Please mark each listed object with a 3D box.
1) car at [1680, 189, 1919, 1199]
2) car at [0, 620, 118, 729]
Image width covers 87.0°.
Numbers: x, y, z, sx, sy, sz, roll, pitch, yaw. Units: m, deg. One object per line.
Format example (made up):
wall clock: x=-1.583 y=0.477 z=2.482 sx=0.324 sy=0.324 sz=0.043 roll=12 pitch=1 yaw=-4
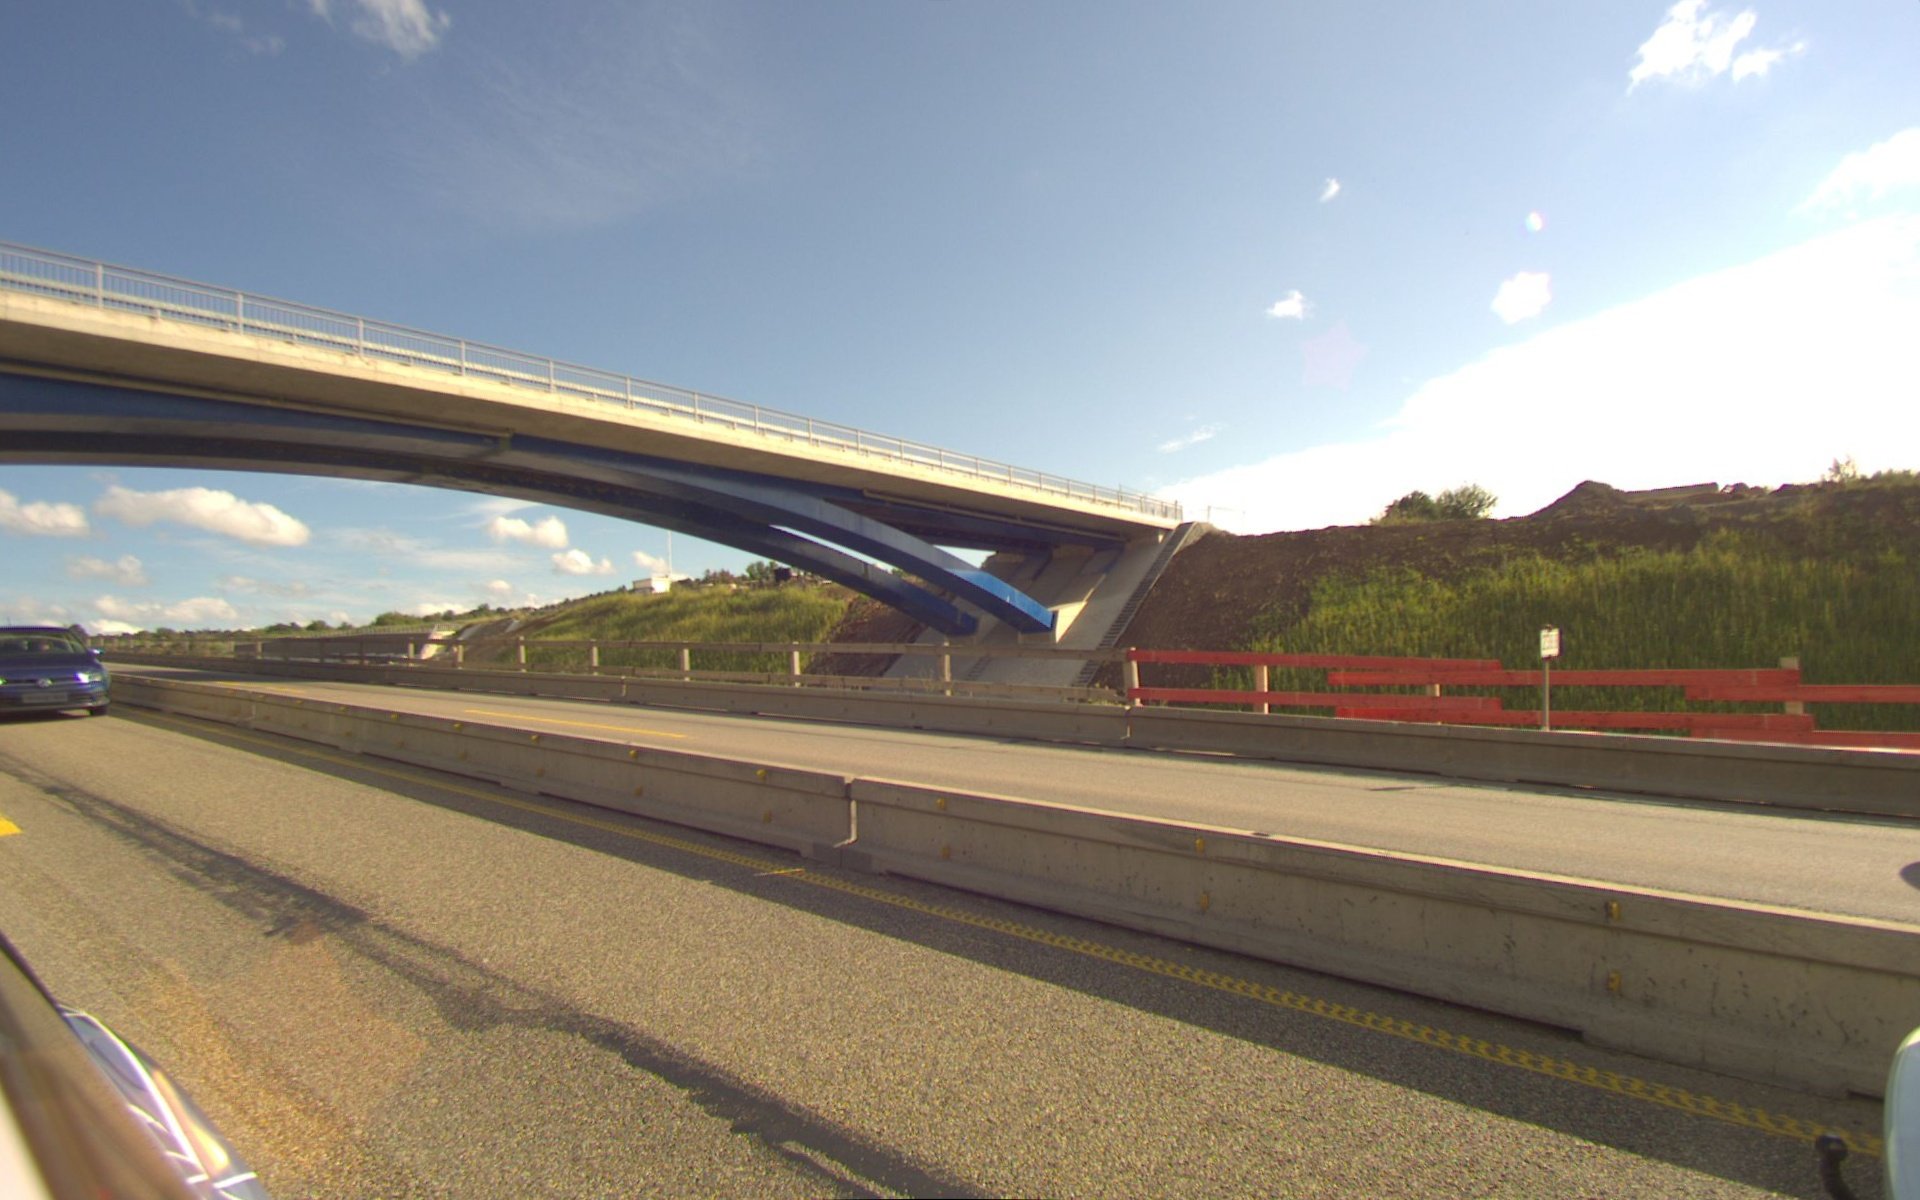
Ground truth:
car: x=3.105 y=0.431 z=0.346 sx=4.455 sy=1.837 sz=1.804 roll=-2 pitch=-1 yaw=42
car: x=-14.818 y=1.096 z=15.982 sx=3.997 sy=1.519 sz=1.697 roll=-1 pitch=-1 yaw=41
